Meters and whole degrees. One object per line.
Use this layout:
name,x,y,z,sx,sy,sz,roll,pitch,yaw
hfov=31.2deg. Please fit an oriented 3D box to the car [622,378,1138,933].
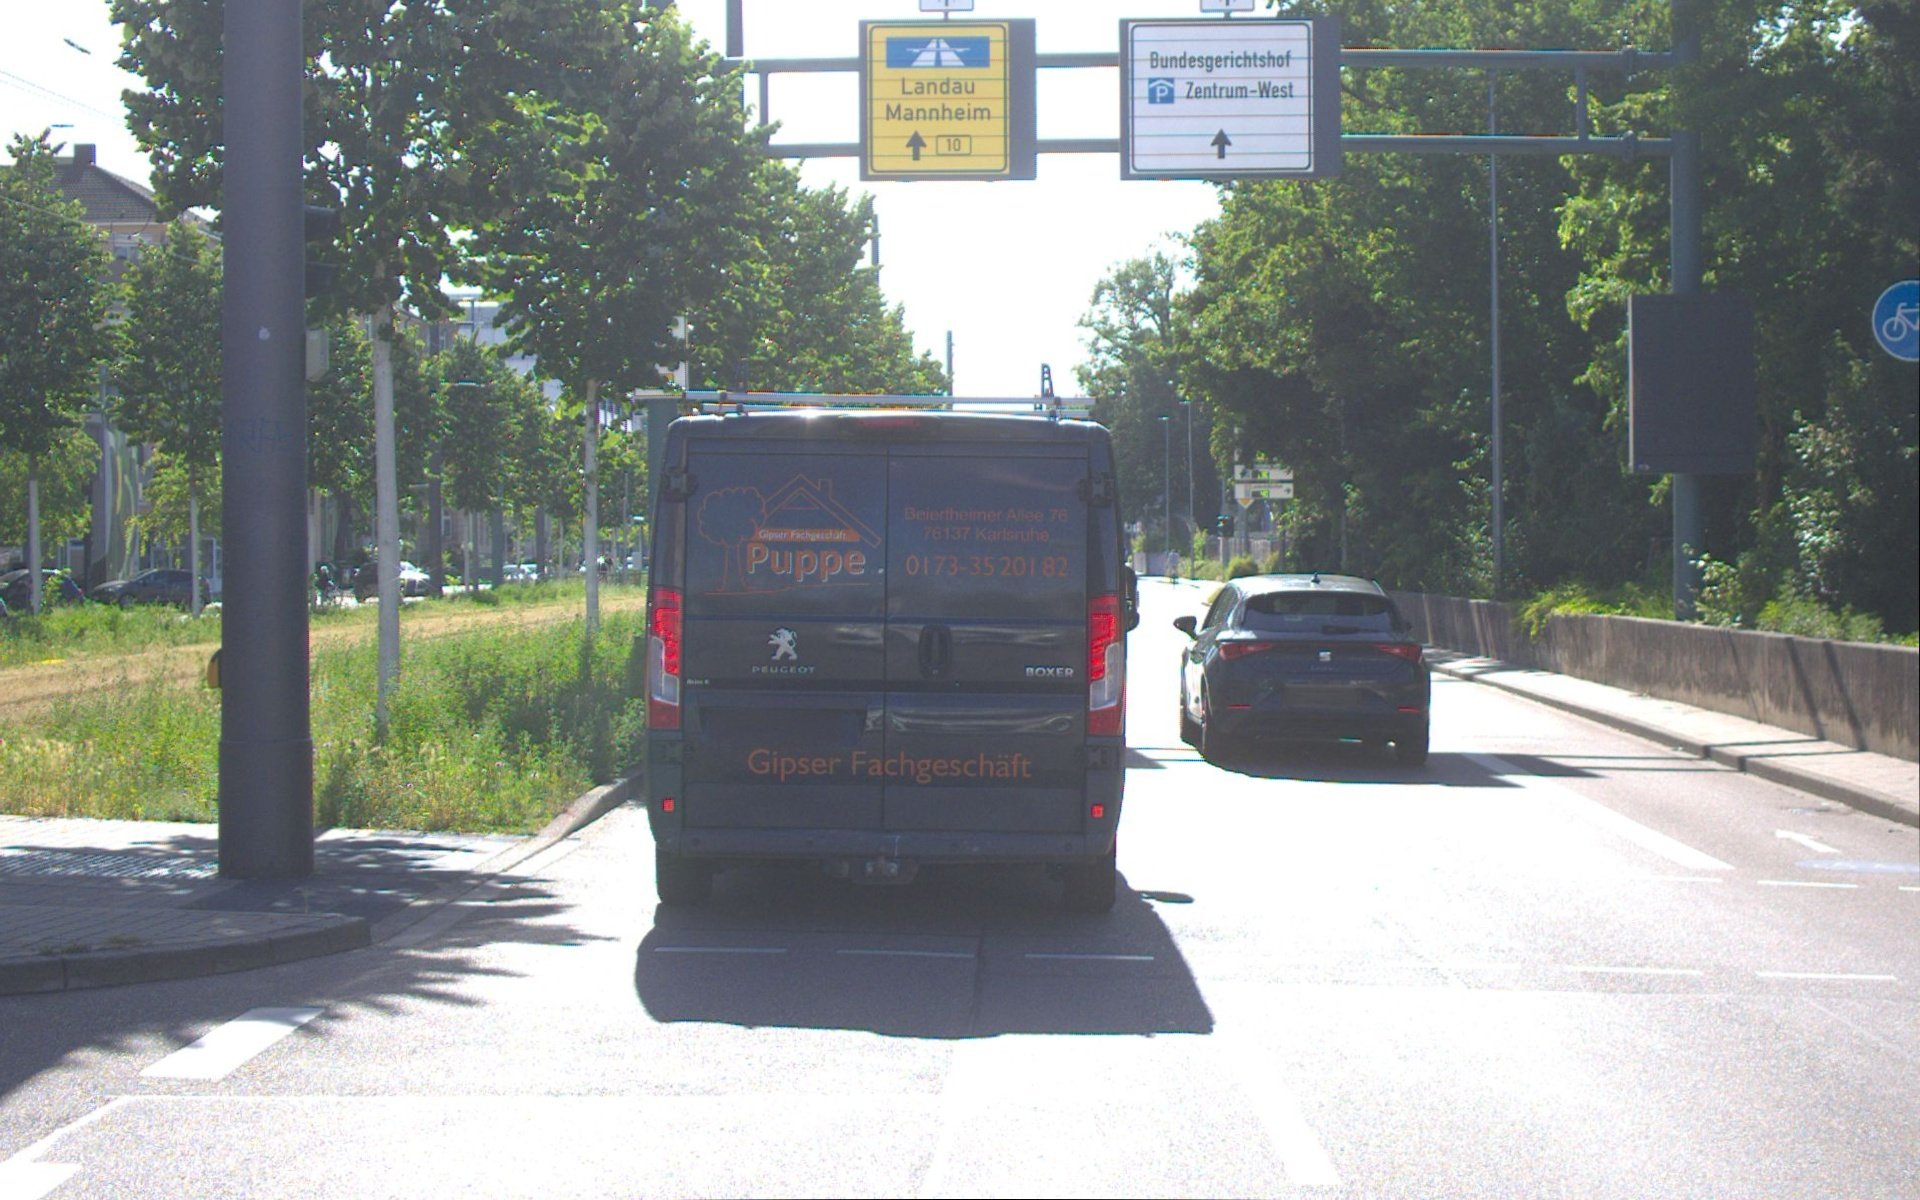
car,-0.312,0.204,16.074,2.082,2.241,4.000,1,1,1

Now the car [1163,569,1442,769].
car,2.672,0.495,27.637,1.763,1.457,4.000,1,1,-1

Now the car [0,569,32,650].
car,-19.349,0.171,65.654,1.994,1.547,4.000,1,1,3

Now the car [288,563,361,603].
car,-25.122,-0.685,135.943,1.993,1.547,4.000,1,1,2
